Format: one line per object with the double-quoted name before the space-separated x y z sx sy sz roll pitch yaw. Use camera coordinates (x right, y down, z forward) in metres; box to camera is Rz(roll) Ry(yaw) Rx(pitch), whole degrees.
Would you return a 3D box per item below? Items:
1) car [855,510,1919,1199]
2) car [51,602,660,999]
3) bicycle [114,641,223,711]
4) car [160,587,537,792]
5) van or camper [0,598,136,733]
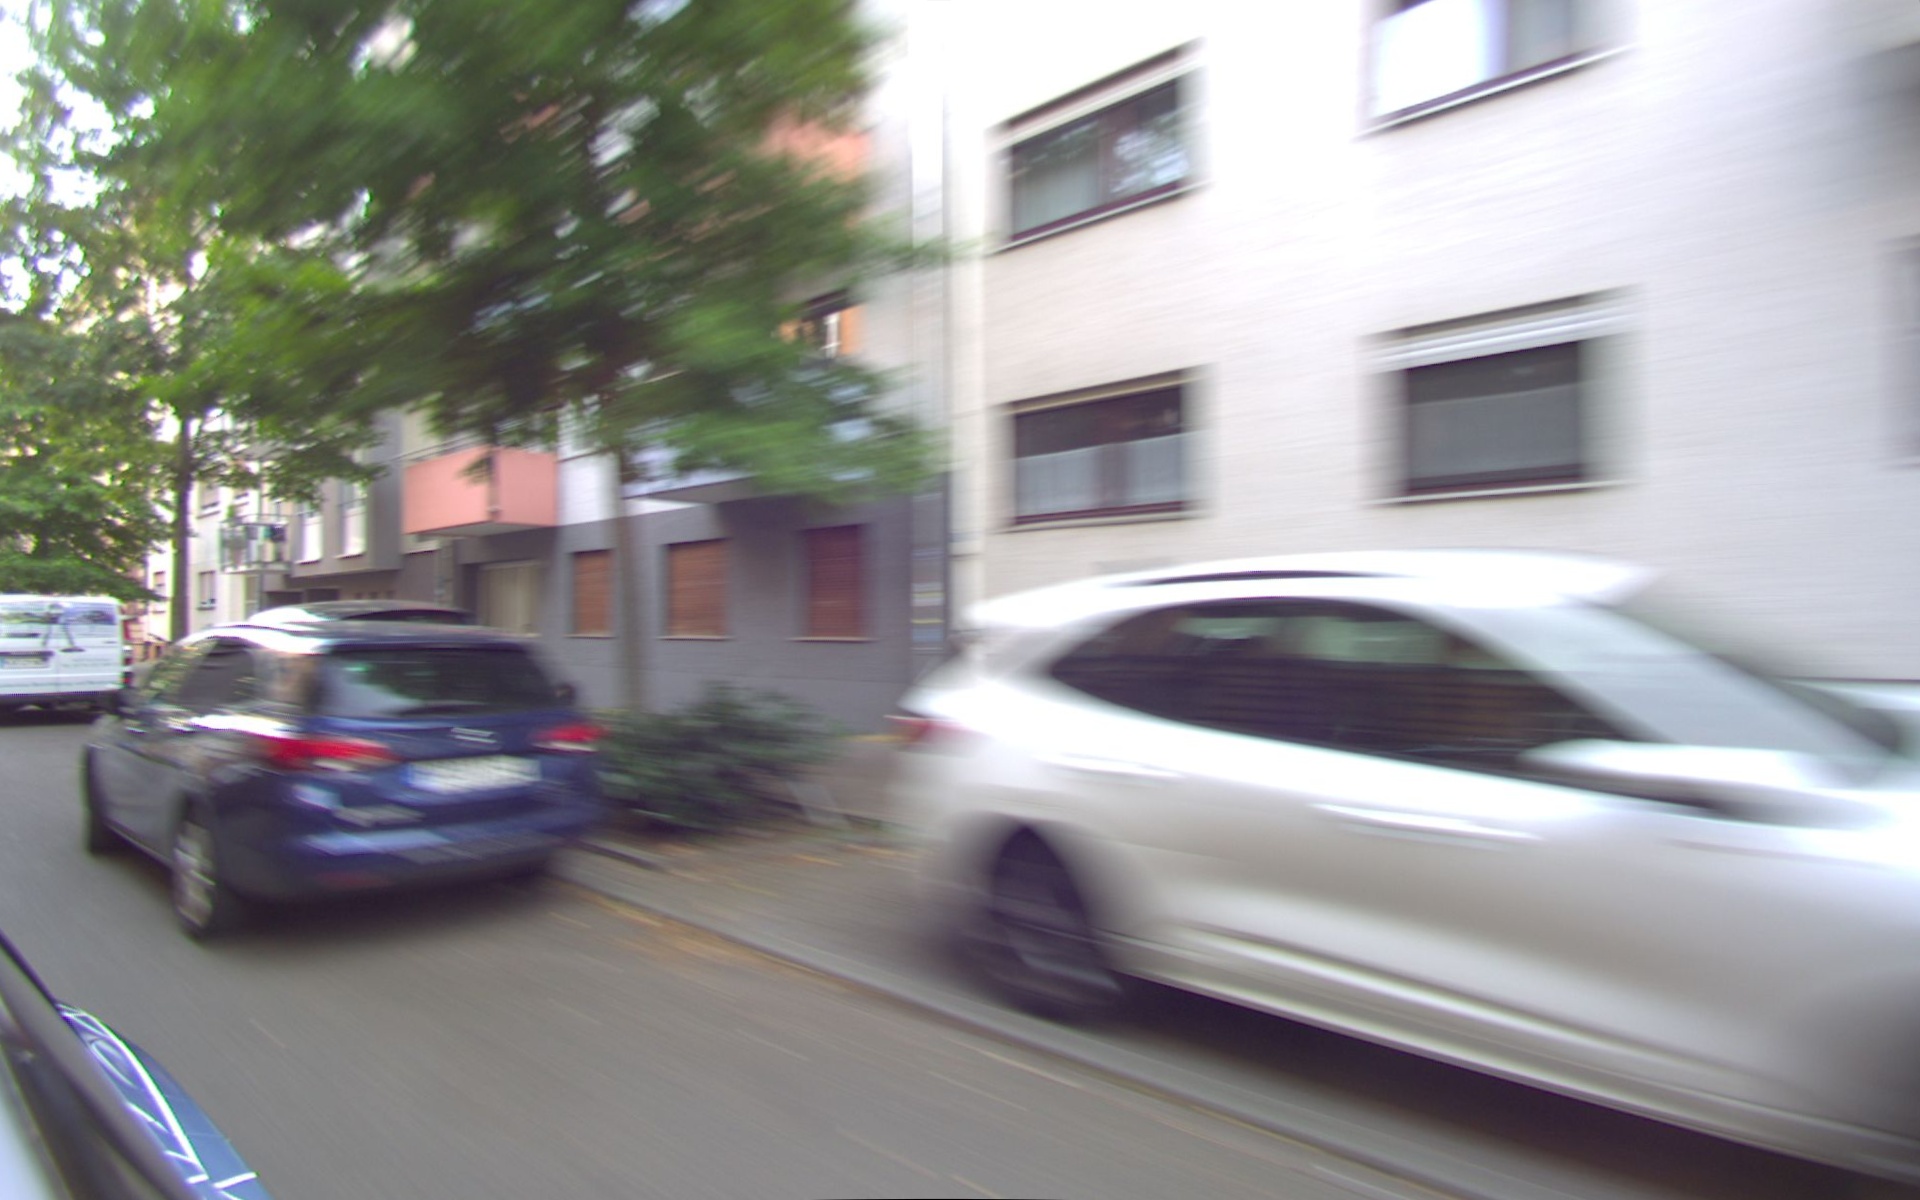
"car" 2.021 0.635 3.374 4.644 1.685 2.014 -2 1 40
"car" -3.864 0.820 6.085 4.513 1.529 1.811 -1 -1 41
"bicycle" -14.074 1.325 18.066 0.688 1.172 1.825 0 -2 -7
"car" -6.601 0.775 10.657 4.919 1.659 1.973 -2 0 41
"van or camper" -14.678 0.967 15.841 4.748 1.857 1.858 -2 -2 40
